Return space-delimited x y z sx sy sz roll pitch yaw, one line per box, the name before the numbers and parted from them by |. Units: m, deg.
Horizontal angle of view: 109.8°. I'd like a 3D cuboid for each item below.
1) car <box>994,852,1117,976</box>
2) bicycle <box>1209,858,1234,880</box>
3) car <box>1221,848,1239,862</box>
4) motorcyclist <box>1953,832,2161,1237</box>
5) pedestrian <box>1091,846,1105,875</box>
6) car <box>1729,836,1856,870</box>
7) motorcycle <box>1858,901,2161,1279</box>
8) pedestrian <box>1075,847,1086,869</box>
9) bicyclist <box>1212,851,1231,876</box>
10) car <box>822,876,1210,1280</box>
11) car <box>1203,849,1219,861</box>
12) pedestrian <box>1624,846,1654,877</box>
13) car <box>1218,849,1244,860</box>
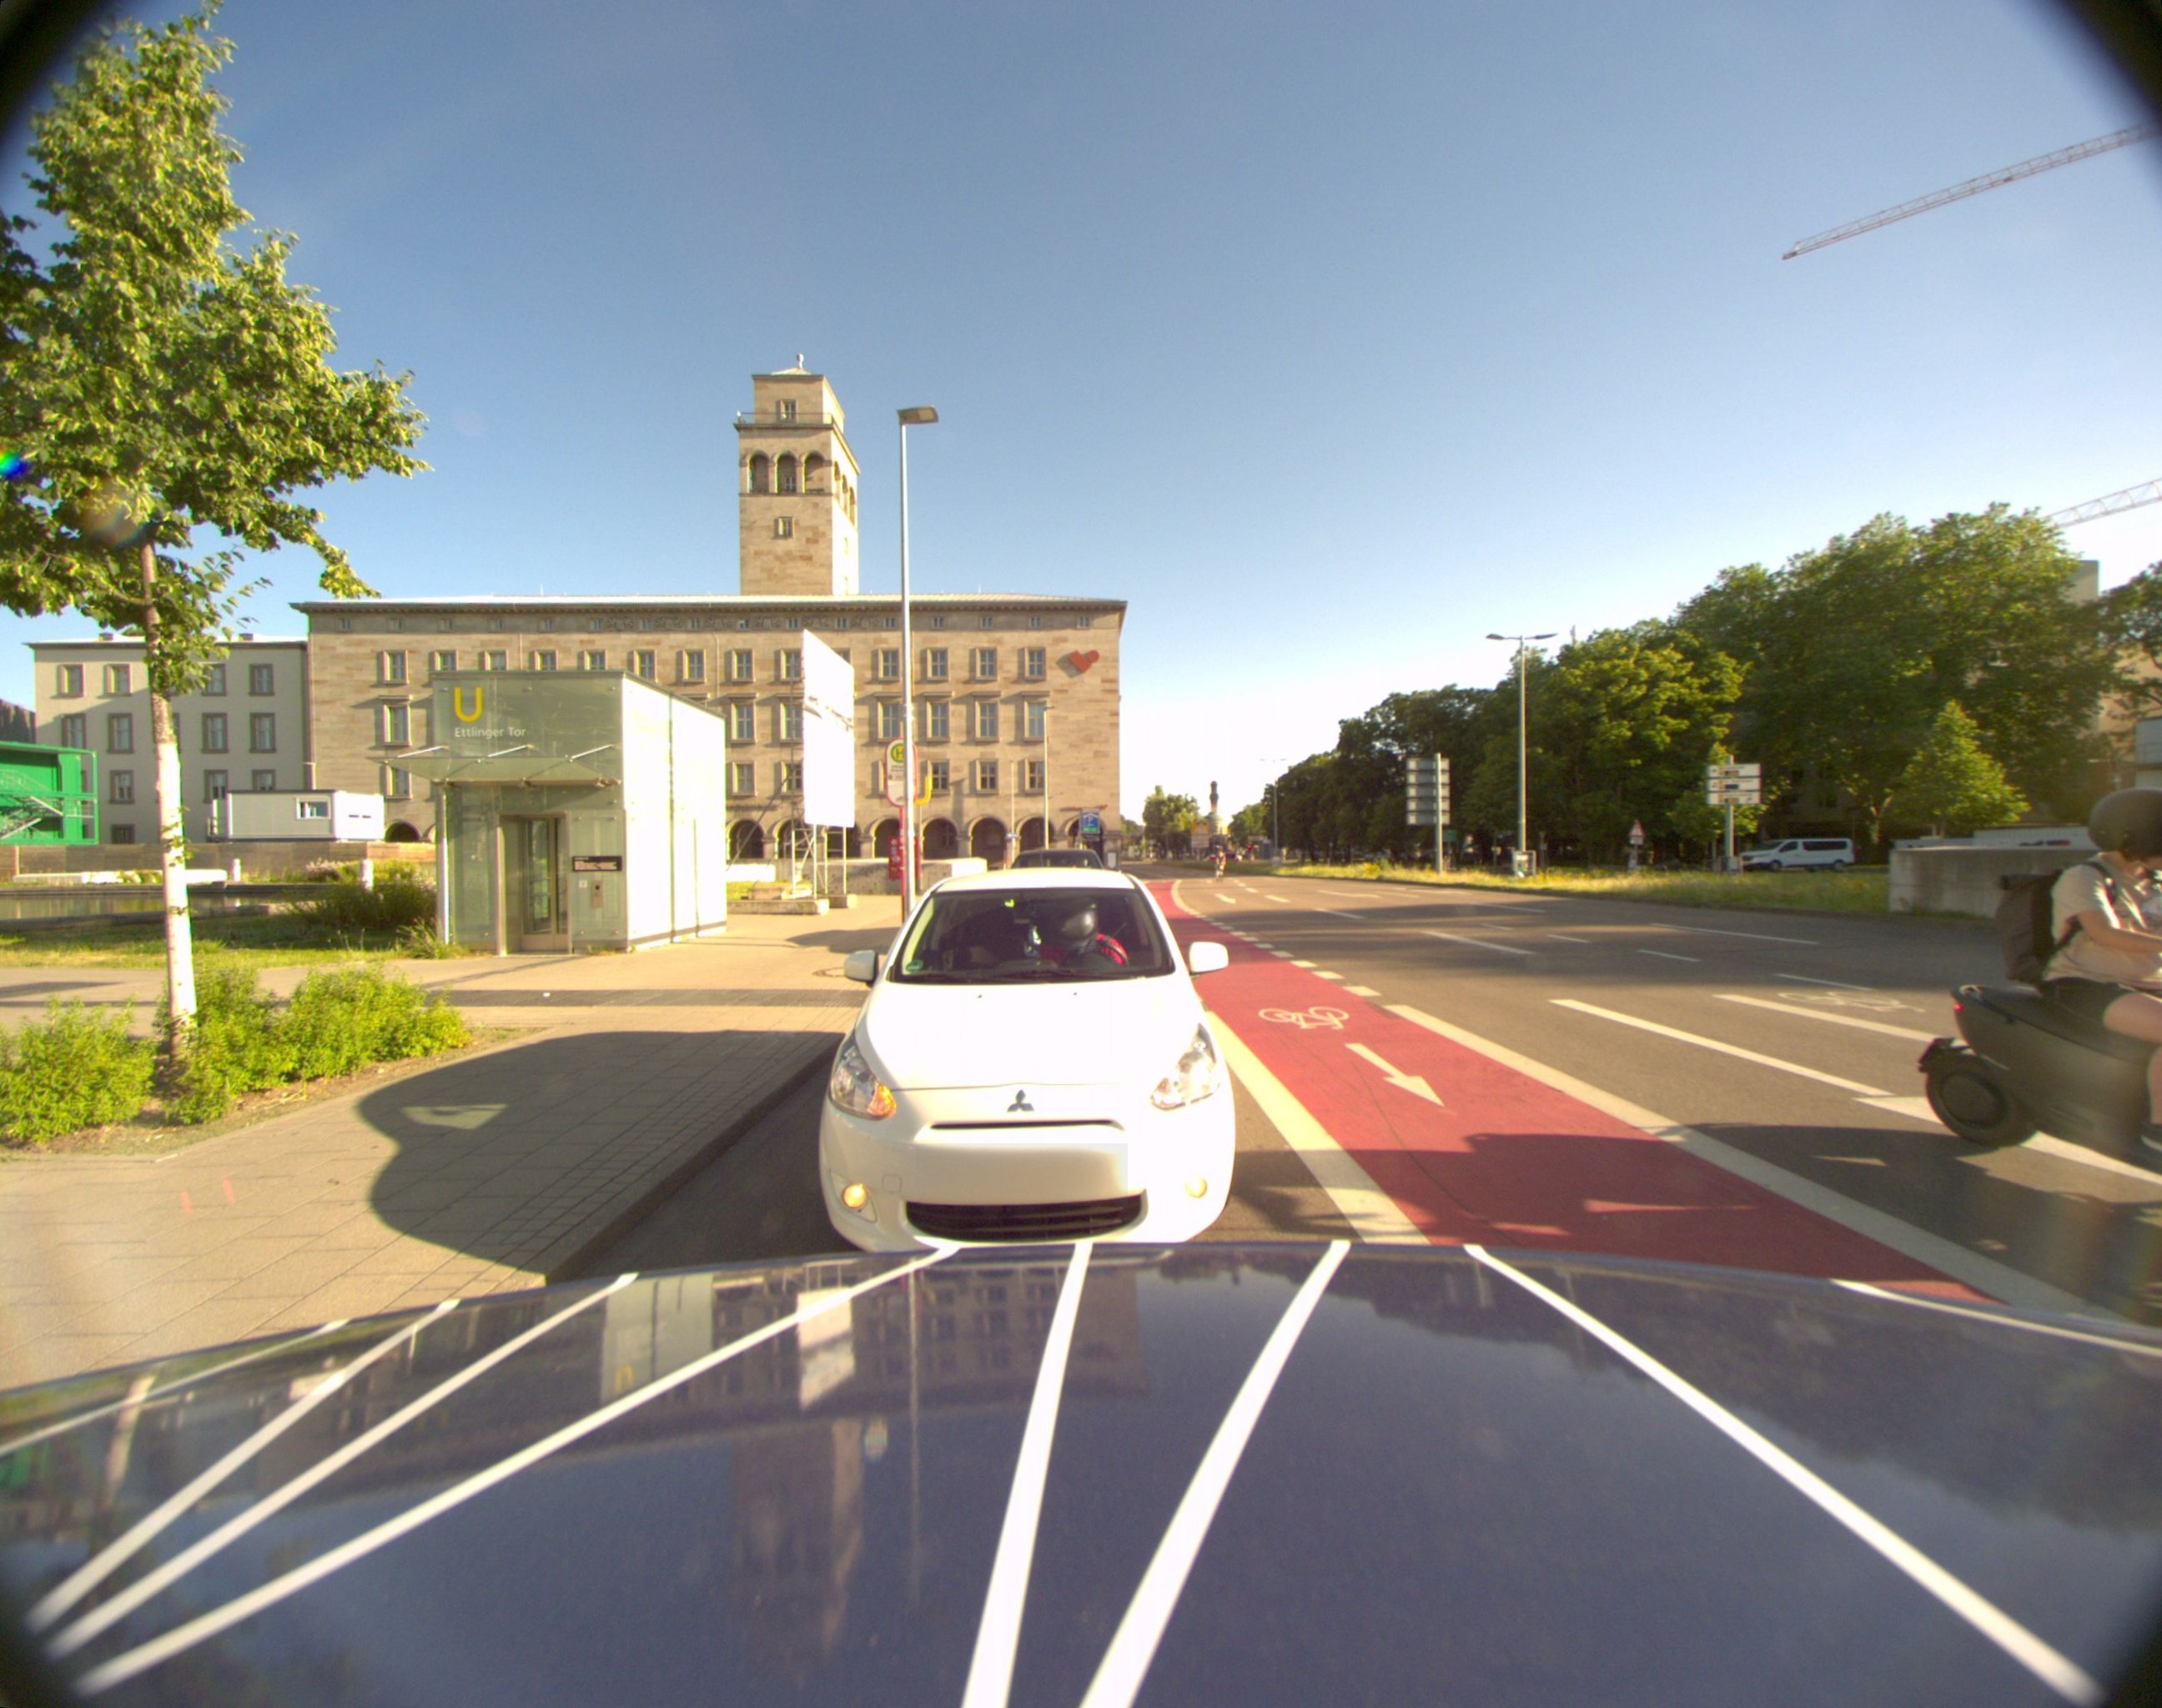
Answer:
car | -0.374 0.835 12.517 1.642 1.653 3.849 -2 0 -1
bicycle | 7.559 0.778 40.992 0.854 1.109 2.808 -2 0 1
car | 21.588 0.112 110.162 1.819 1.817 3.999 -2 1 1
motorcyclist | 4.275 0.651 2.937 0.727 1.466 0.917 -2 0 1
pedestrian | 1.537 0.572 68.644 1.122 2.524 1.055 -2 1 1
car | 42.132 -0.058 45.110 5.516 1.924 2.065 -1 1 2
motorcycle | 4.283 0.895 2.884 0.724 1.286 1.884 -2 0 1
pedestrian | -0.080 0.427 86.882 1.122 2.524 1.055 -2 1 1
bicyclist | 7.565 0.505 41.013 0.854 1.340 0.829 -2 1 1
car | -0.234 0.950 4.837 1.496 1.477 3.604 -2 0 1
car | 20.582 0.108 120.439 1.747 1.778 3.947 -2 1 1
pedestrian | 33.487 0.424 45.623 0.989 1.821 1.019 -2 1 0
car | 27.752 0.119 140.656 4.579 1.827 1.879 -2 1 10
